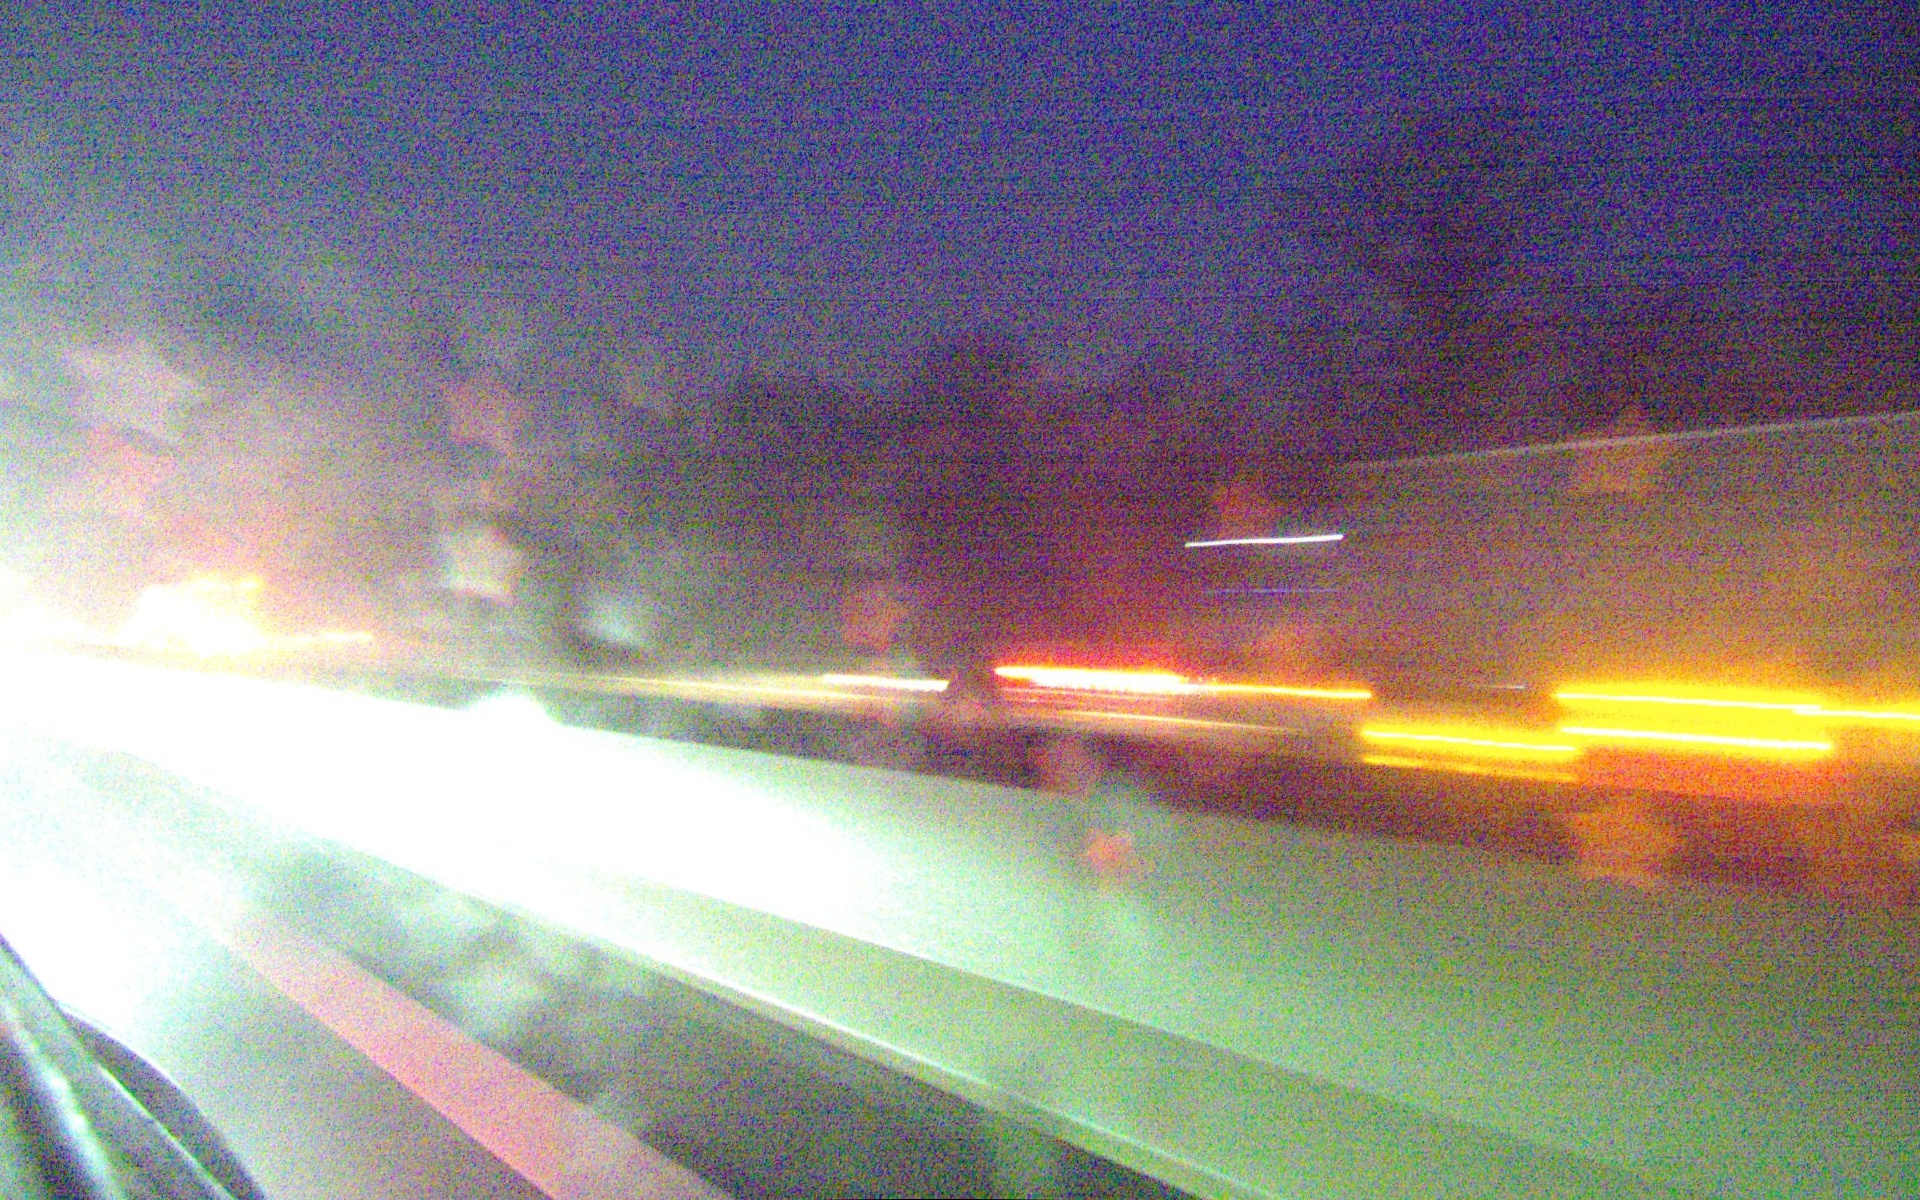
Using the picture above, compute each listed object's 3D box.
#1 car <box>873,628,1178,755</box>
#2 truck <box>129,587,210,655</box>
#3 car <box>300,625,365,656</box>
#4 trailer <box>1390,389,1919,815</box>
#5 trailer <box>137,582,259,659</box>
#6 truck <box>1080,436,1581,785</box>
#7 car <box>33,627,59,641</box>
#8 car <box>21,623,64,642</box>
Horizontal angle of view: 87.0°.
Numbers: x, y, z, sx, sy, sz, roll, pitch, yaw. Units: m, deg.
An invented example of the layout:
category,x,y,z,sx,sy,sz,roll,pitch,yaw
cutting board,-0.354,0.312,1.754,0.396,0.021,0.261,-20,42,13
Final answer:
category,x,y,z,sx,sy,sz,roll,pitch,yaw
car,0.853,1.235,14.891,4.345,1.610,1.661,-2,-3,40
truck,-52.717,1.475,67.438,6.080,4.326,3.022,-2,-3,41
car,-40.529,2.610,65.340,4.787,1.907,2.191,-1,-3,41
trailer,12.739,-0.080,9.621,15.709,4.337,2.856,-3,-2,41
trailer,-47.687,1.345,63.035,14.401,4.326,3.016,-1,-3,41
truck,5.549,0.231,15.947,6.742,4.368,2.856,-3,-2,41
car,-127.804,4.789,141.486,5.383,1.963,1.973,-2,-3,41
car,-70.811,2.532,78.110,3.998,1.431,1.973,-1,-3,41
